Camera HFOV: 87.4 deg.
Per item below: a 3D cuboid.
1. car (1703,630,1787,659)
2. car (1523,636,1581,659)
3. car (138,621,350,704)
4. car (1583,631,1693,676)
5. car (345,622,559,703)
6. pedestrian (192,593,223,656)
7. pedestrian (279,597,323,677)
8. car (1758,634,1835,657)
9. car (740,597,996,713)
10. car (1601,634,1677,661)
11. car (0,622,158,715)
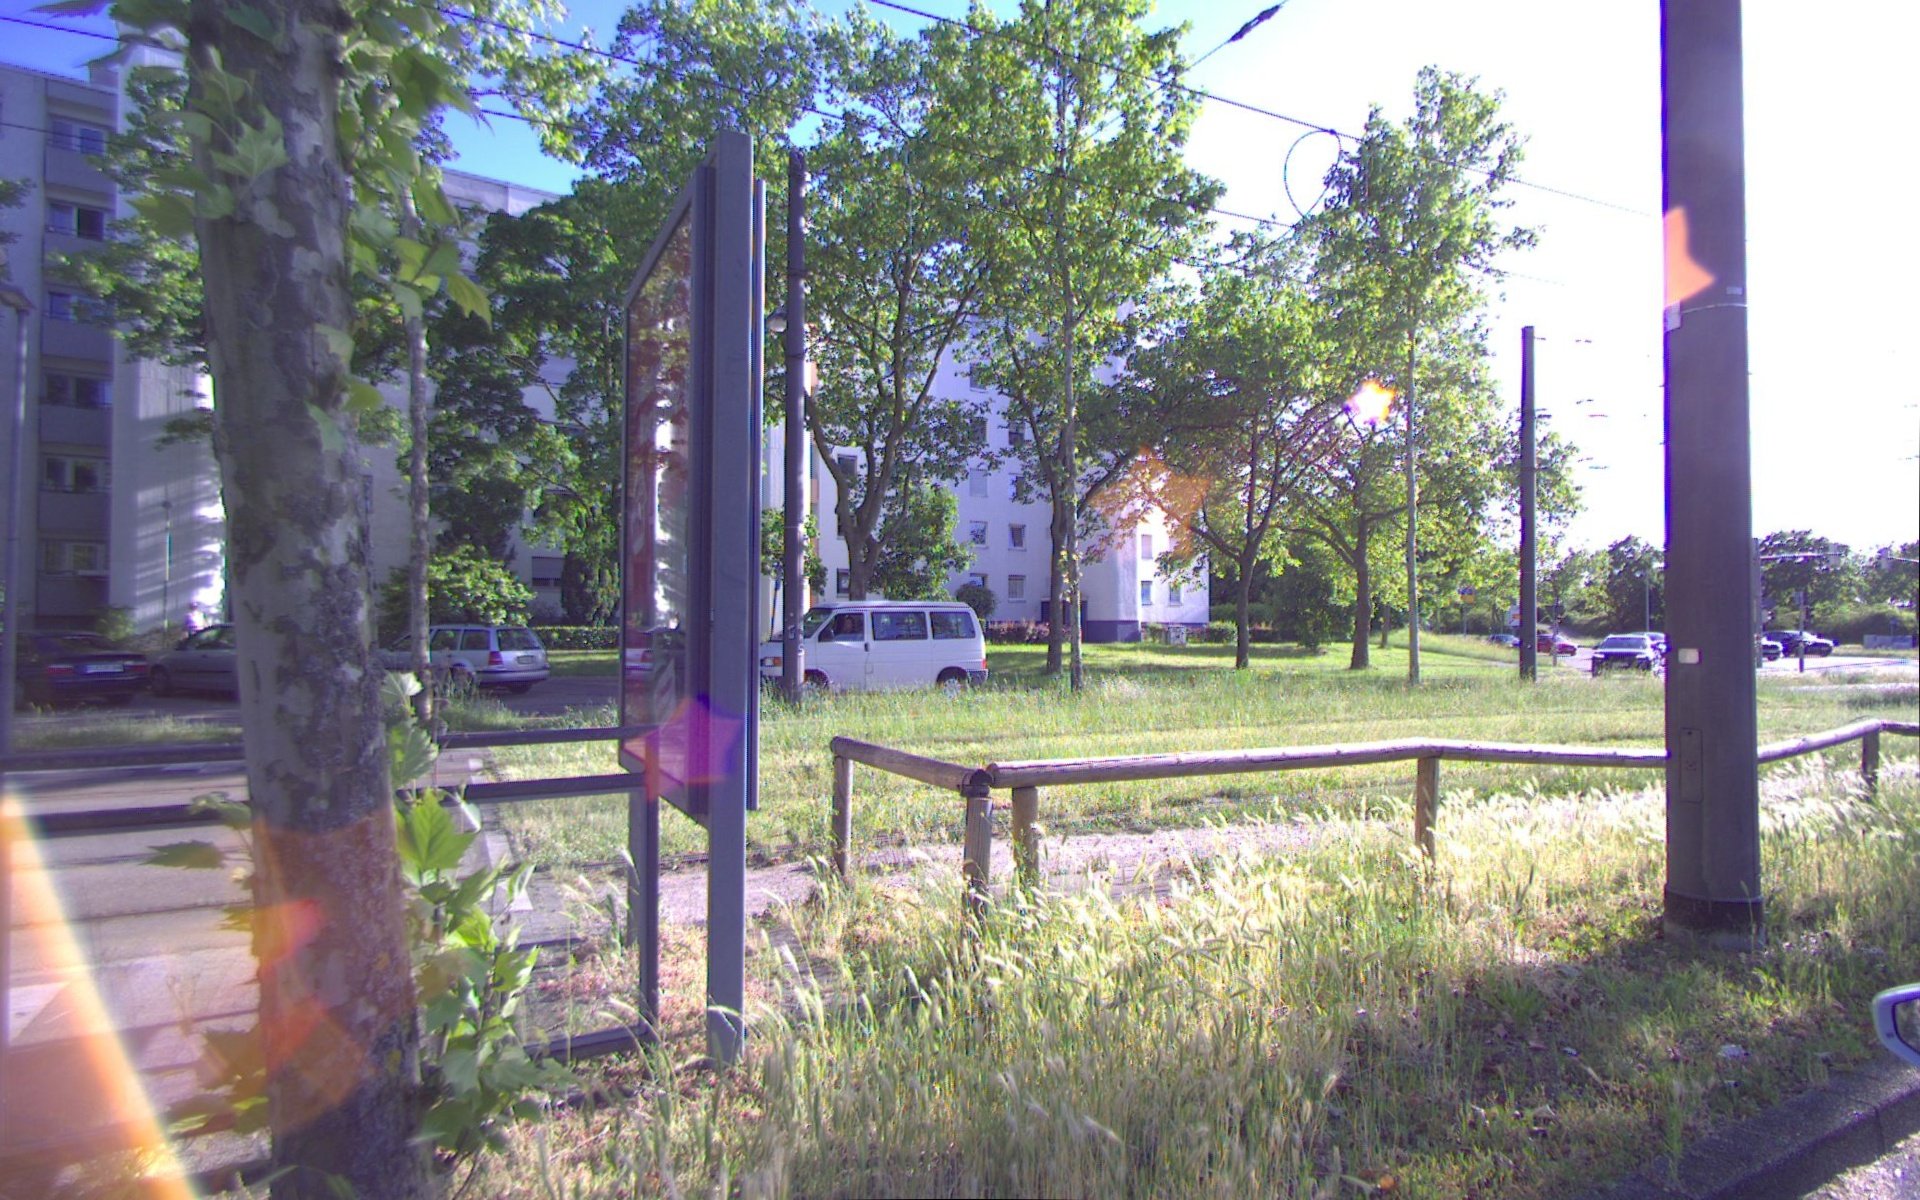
[{"bbox_3d":[46.751,2.628,59.935,1.960,1.666,4.001,1,-1,2],"label":"car"},{"bbox_3d":[42.731,3.397,72.562,1.699,1.533,3.998,1,-1,-3],"label":"car"},{"bbox_3d":[-13.936,1.170,19.579,3.547,1.439,1.576,1,0,19],"label":"car"},{"bbox_3d":[24.915,1.933,36.890,4.054,1.532,1.756,1,-1,-30],"label":"car"},{"bbox_3d":[-10.533,1.236,20.868,3.898,1.462,1.710,1,0,18],"label":"car"},{"bbox_3d":[-21.622,0.711,28.875,0.628,1.780,0.518,1,-1,-32],"label":"pedestrian"},{"bbox_3d":[-14.990,0.841,22.852,0.746,1.780,0.757,1,-1,-29],"label":"pedestrian"},{"bbox_3d":[53.124,2.855,63.861,1.664,1.347,4.001,1,-1,2],"label":"car"},{"bbox_3d":[-1.738,1.017,19.393,4.594,2.018,1.784,1,-1,-28],"label":"car"},{"bbox_3d":[43.575,3.035,64.581,1.833,1.633,4.186,1,-1,-4],"label":"car"},{"bbox_3d":[-16.305,1.143,17.807,3.850,1.367,1.593,2,0,23],"label":"car"}]
